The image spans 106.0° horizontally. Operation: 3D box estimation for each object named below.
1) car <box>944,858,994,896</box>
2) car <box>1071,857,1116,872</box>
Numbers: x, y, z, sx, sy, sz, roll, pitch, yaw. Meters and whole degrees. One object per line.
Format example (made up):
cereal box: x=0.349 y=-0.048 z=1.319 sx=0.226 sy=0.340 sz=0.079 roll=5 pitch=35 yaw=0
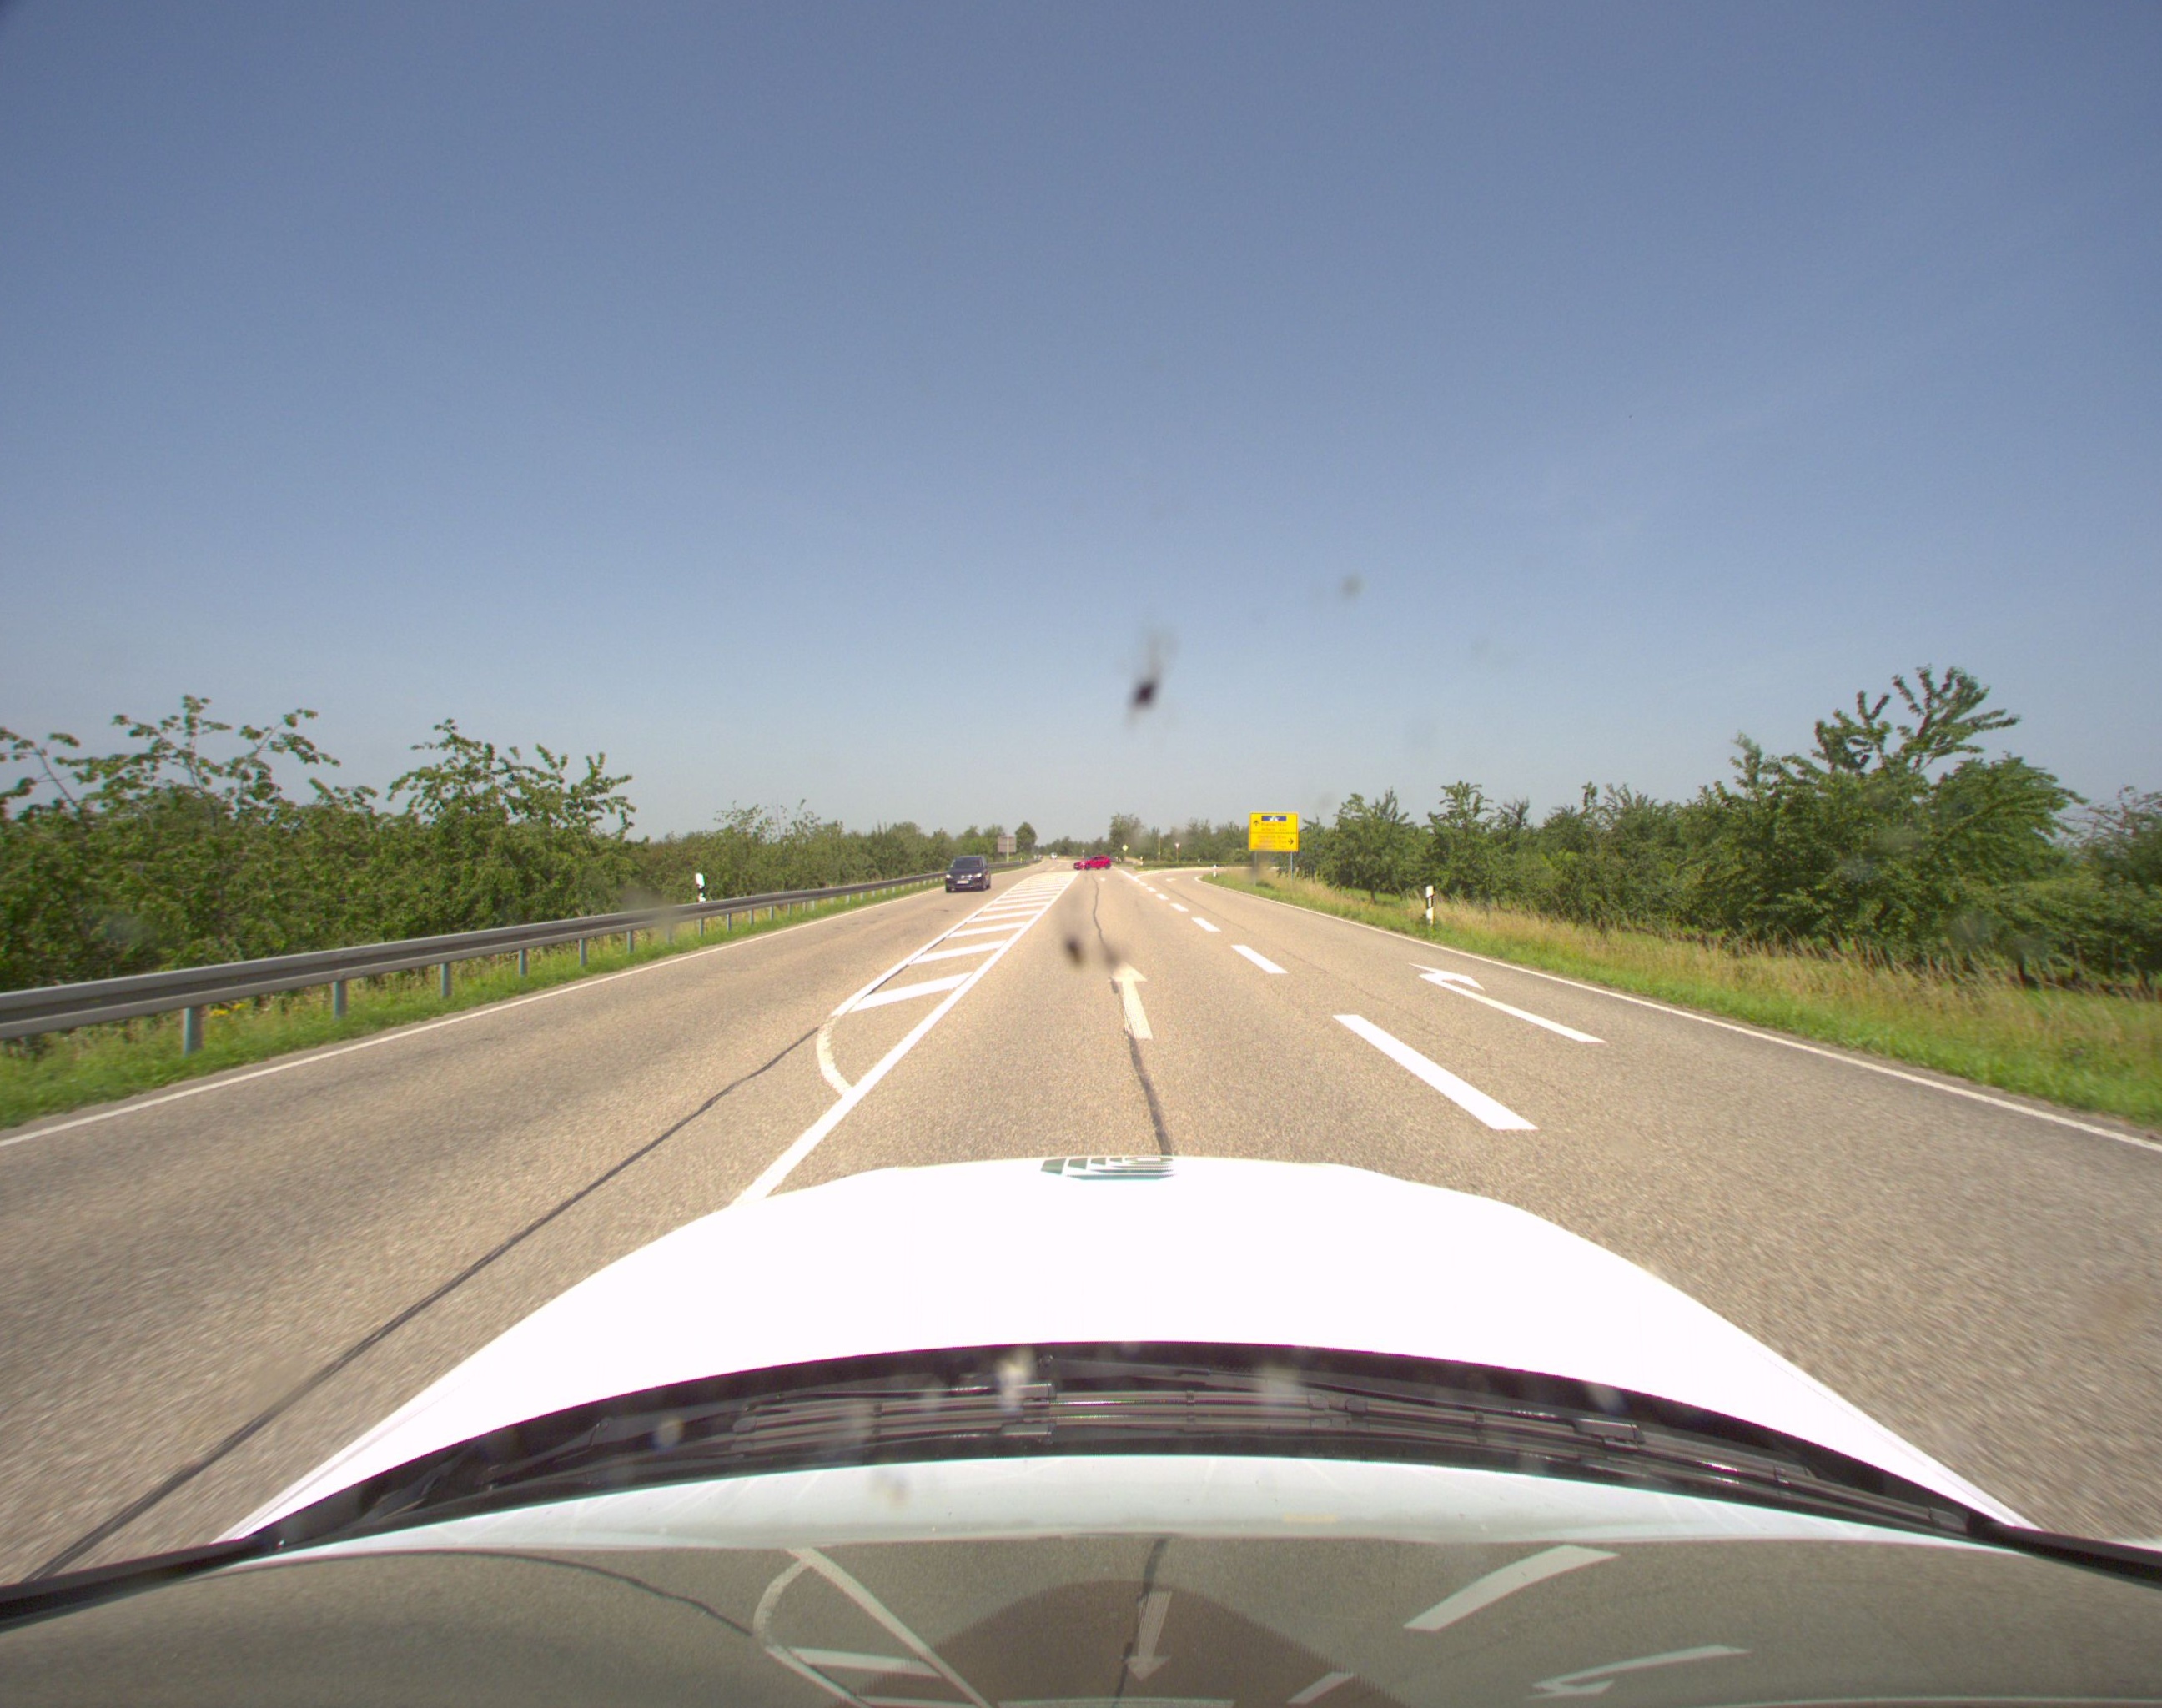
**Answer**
car: x=-5.172 y=1.020 z=38.133 sx=1.799 sy=1.637 sz=4.806 roll=-1 pitch=0 yaw=-2
car: x=1.297 y=1.059 z=85.125 sx=4.515 sy=1.449 sz=1.801 roll=-1 pitch=-1 yaw=-36
